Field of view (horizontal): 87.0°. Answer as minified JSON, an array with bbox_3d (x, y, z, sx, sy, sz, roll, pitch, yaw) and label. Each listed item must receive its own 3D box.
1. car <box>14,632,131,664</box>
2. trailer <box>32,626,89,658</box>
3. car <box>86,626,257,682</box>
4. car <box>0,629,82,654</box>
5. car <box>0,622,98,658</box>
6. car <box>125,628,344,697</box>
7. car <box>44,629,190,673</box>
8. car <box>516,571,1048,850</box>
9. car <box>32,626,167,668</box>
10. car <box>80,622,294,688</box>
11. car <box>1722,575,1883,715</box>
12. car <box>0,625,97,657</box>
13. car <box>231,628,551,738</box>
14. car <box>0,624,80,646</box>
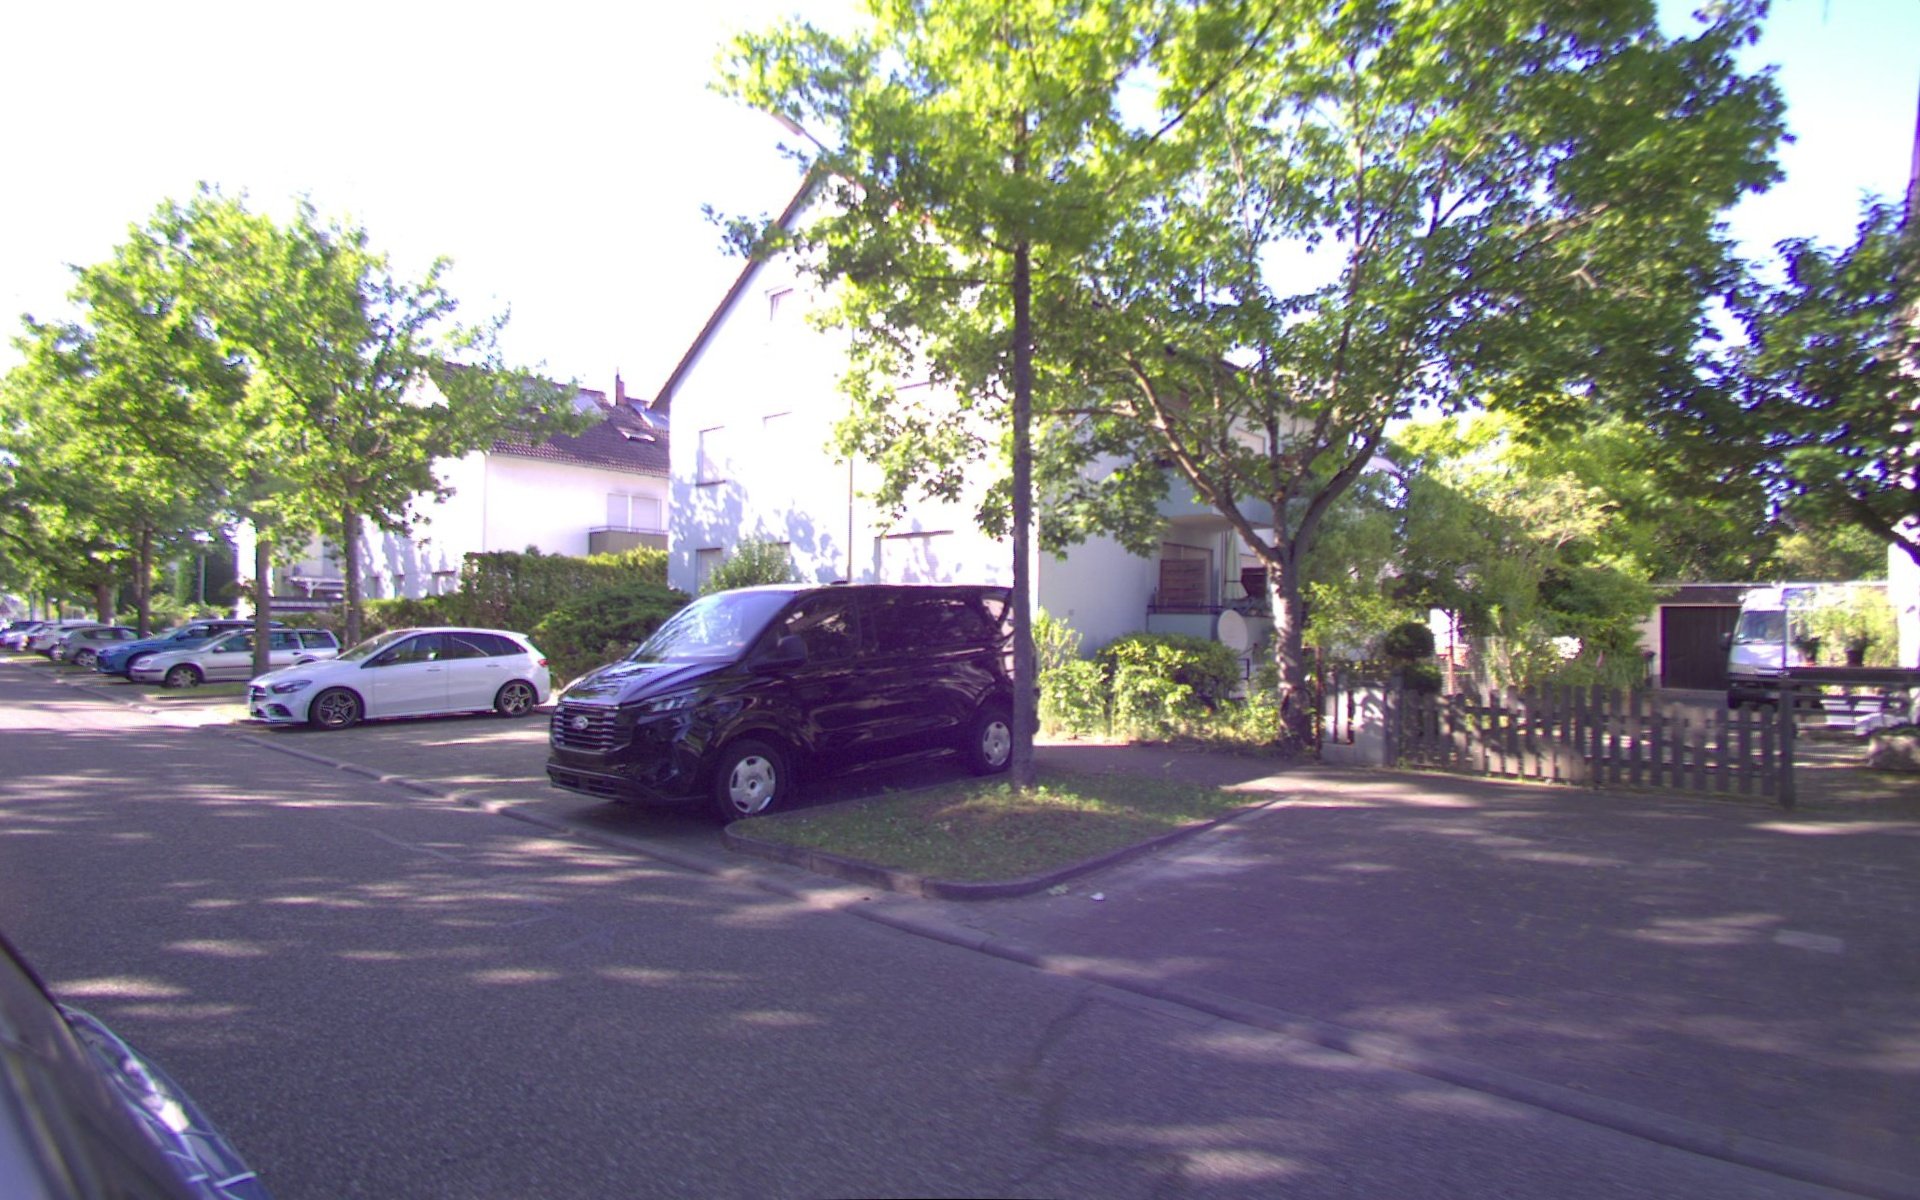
[{"bbox_3d":[-42.732,2.295,48.771,4.161,1.483,1.692,2,-3,-44],"label":"car"},{"bbox_3d":[-48.321,2.269,54.371,2.208,1.686,1.476,2,-3,-42],"label":"trailer"},{"bbox_3d":[-24.496,1.657,31.521,1.858,1.608,3.942,-2,-3,43],"label":"car"},{"bbox_3d":[-58.933,2.638,64.374,1.837,1.511,4.427,-2,-3,43],"label":"car"},{"bbox_3d":[-52.001,2.298,57.615,1.999,1.959,4.191,-1,-3,41],"label":"car"},{"bbox_3d":[-17.698,1.467,24.841,1.647,1.503,4.137,-1,-2,42],"label":"car"},{"bbox_3d":[-31.600,1.879,38.009,1.809,1.434,3.991,-1,0,42],"label":"car"},{"bbox_3d":[-1.379,0.813,9.504,2.017,1.931,4.729,-2,-2,40],"label":"car"},{"bbox_3d":[-35.438,1.892,41.760,1.793,1.579,4.139,-2,-1,45],"label":"car"},{"bbox_3d":[-21.298,1.455,28.012,1.938,1.643,4.473,-1,-1,44],"label":"car"},{"bbox_3d":[16.734,0.862,20.028,4.323,2.444,2.029,3,-2,-44],"label":"car"},{"bbox_3d":[-53.664,2.385,59.503,1.967,1.783,4.194,-1,-1,41],"label":"car"},{"bbox_3d":[-9.145,1.237,16.535,1.768,1.489,4.229,-2,-1,43],"label":"car"},{"bbox_3d":[-62.586,2.373,68.507,1.720,1.435,4.232,-2,-2,36],"label":"car"}]
